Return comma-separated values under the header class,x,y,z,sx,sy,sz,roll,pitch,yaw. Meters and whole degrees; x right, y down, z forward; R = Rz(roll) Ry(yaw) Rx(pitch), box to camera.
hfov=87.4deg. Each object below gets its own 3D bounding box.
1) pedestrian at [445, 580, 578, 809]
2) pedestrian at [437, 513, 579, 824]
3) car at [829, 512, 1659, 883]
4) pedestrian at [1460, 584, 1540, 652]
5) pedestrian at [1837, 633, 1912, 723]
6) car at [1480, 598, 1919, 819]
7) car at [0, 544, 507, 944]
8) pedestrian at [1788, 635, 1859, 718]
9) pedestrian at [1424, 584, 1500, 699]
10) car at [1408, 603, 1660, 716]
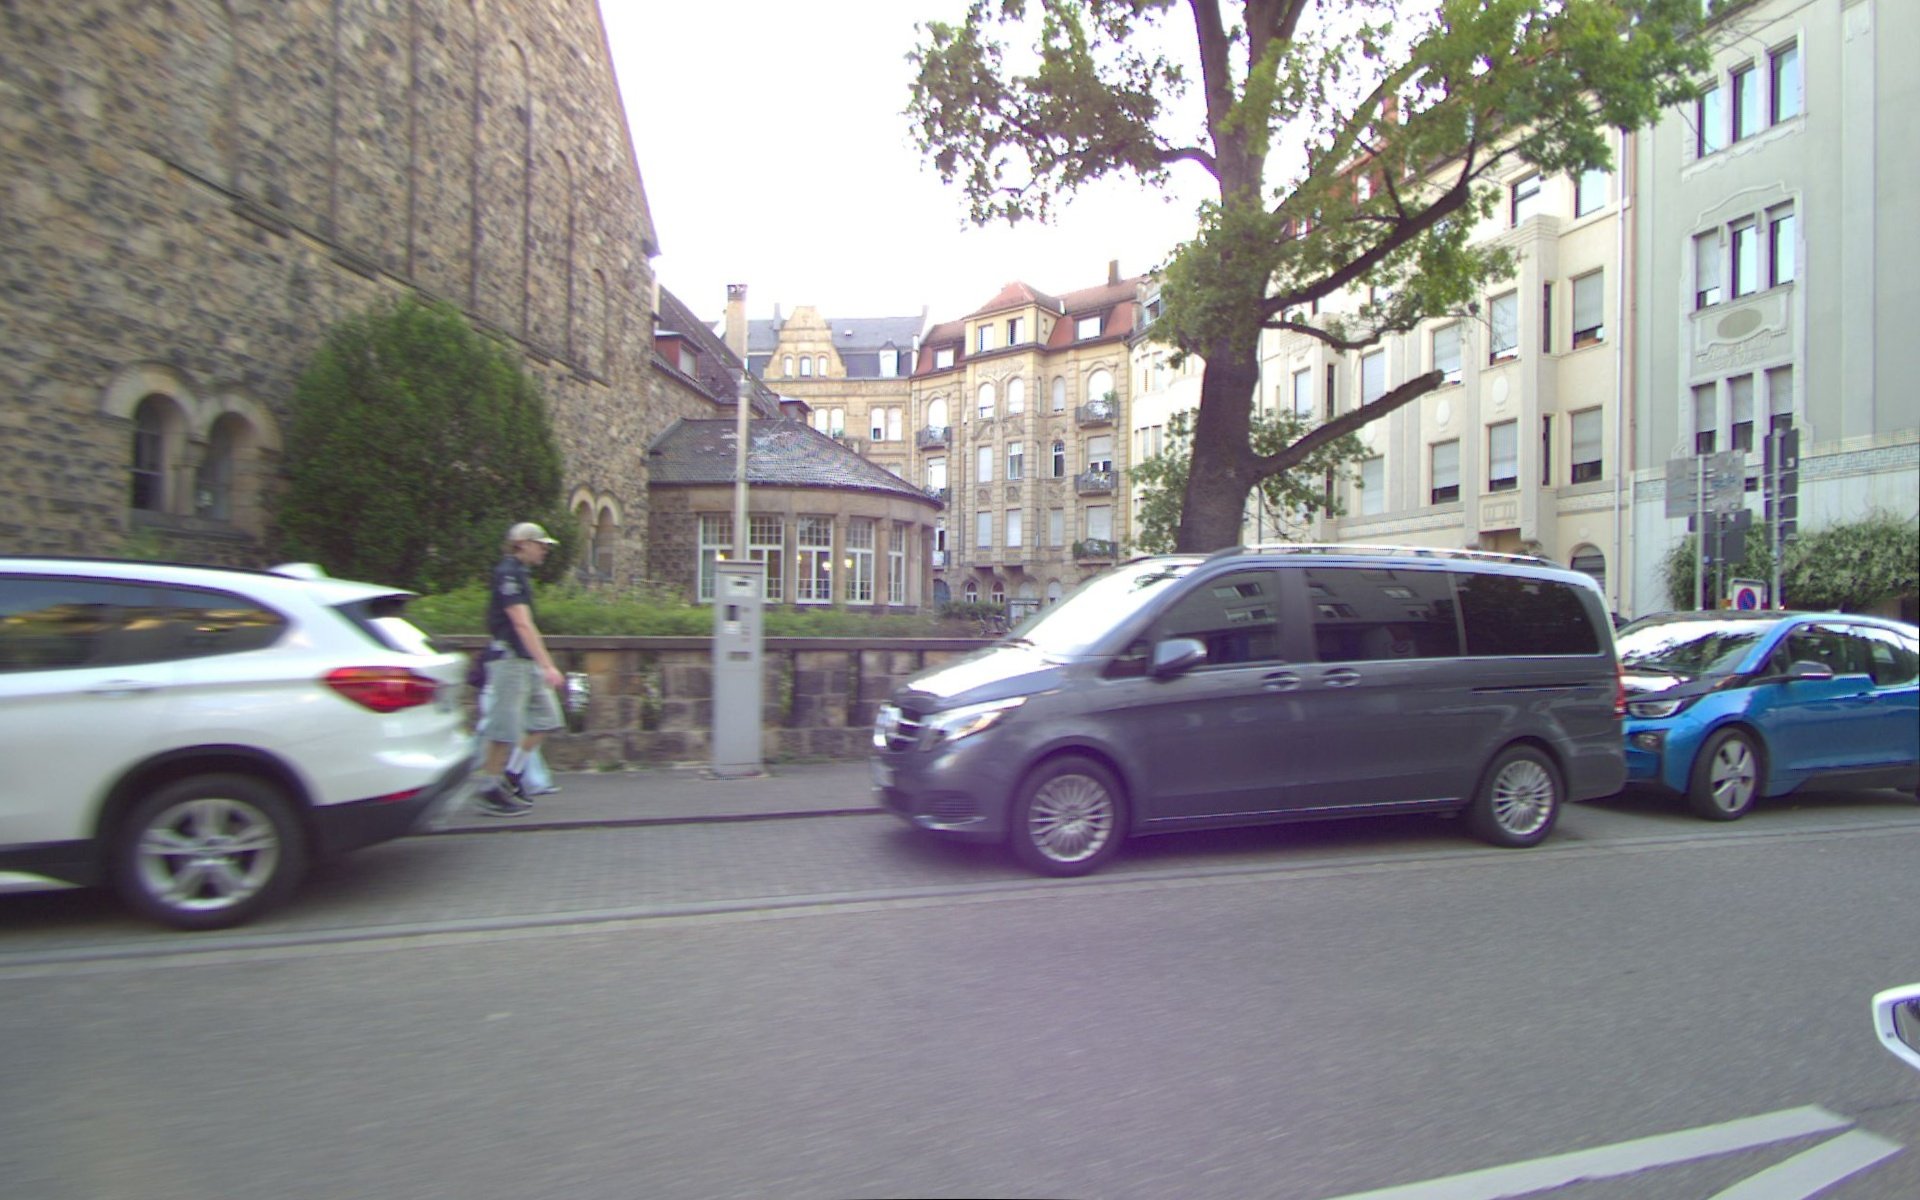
class,x,y,z,sx,sy,sz,roll,pitch,yaw
pedestrian,-3.235,0.655,7.311,0.827,1.572,0.581,1,0,-21
pedestrian,-2.962,0.437,6.651,0.791,1.930,0.581,1,-1,-21
car,1.859,0.553,6.840,5.204,1.891,1.993,1,-1,-17
pedestrian,8.111,0.282,15.097,0.824,0.993,0.705,1,-1,-20
pedestrian,16.258,1.366,17.874,0.771,1.560,0.701,1,-1,-19
car,6.629,0.817,8.495,3.938,1.576,1.640,1,-1,-16
car,-4.664,0.588,4.767,4.400,1.613,1.869,1,-1,-20
pedestrian,15.968,1.404,18.580,0.771,1.488,0.701,1,-1,-19
pedestrian,7.878,0.650,15.777,0.824,1.744,0.705,1,-1,-20
car,10.471,1.044,18.700,1.859,1.868,3.989,1,-2,-14
